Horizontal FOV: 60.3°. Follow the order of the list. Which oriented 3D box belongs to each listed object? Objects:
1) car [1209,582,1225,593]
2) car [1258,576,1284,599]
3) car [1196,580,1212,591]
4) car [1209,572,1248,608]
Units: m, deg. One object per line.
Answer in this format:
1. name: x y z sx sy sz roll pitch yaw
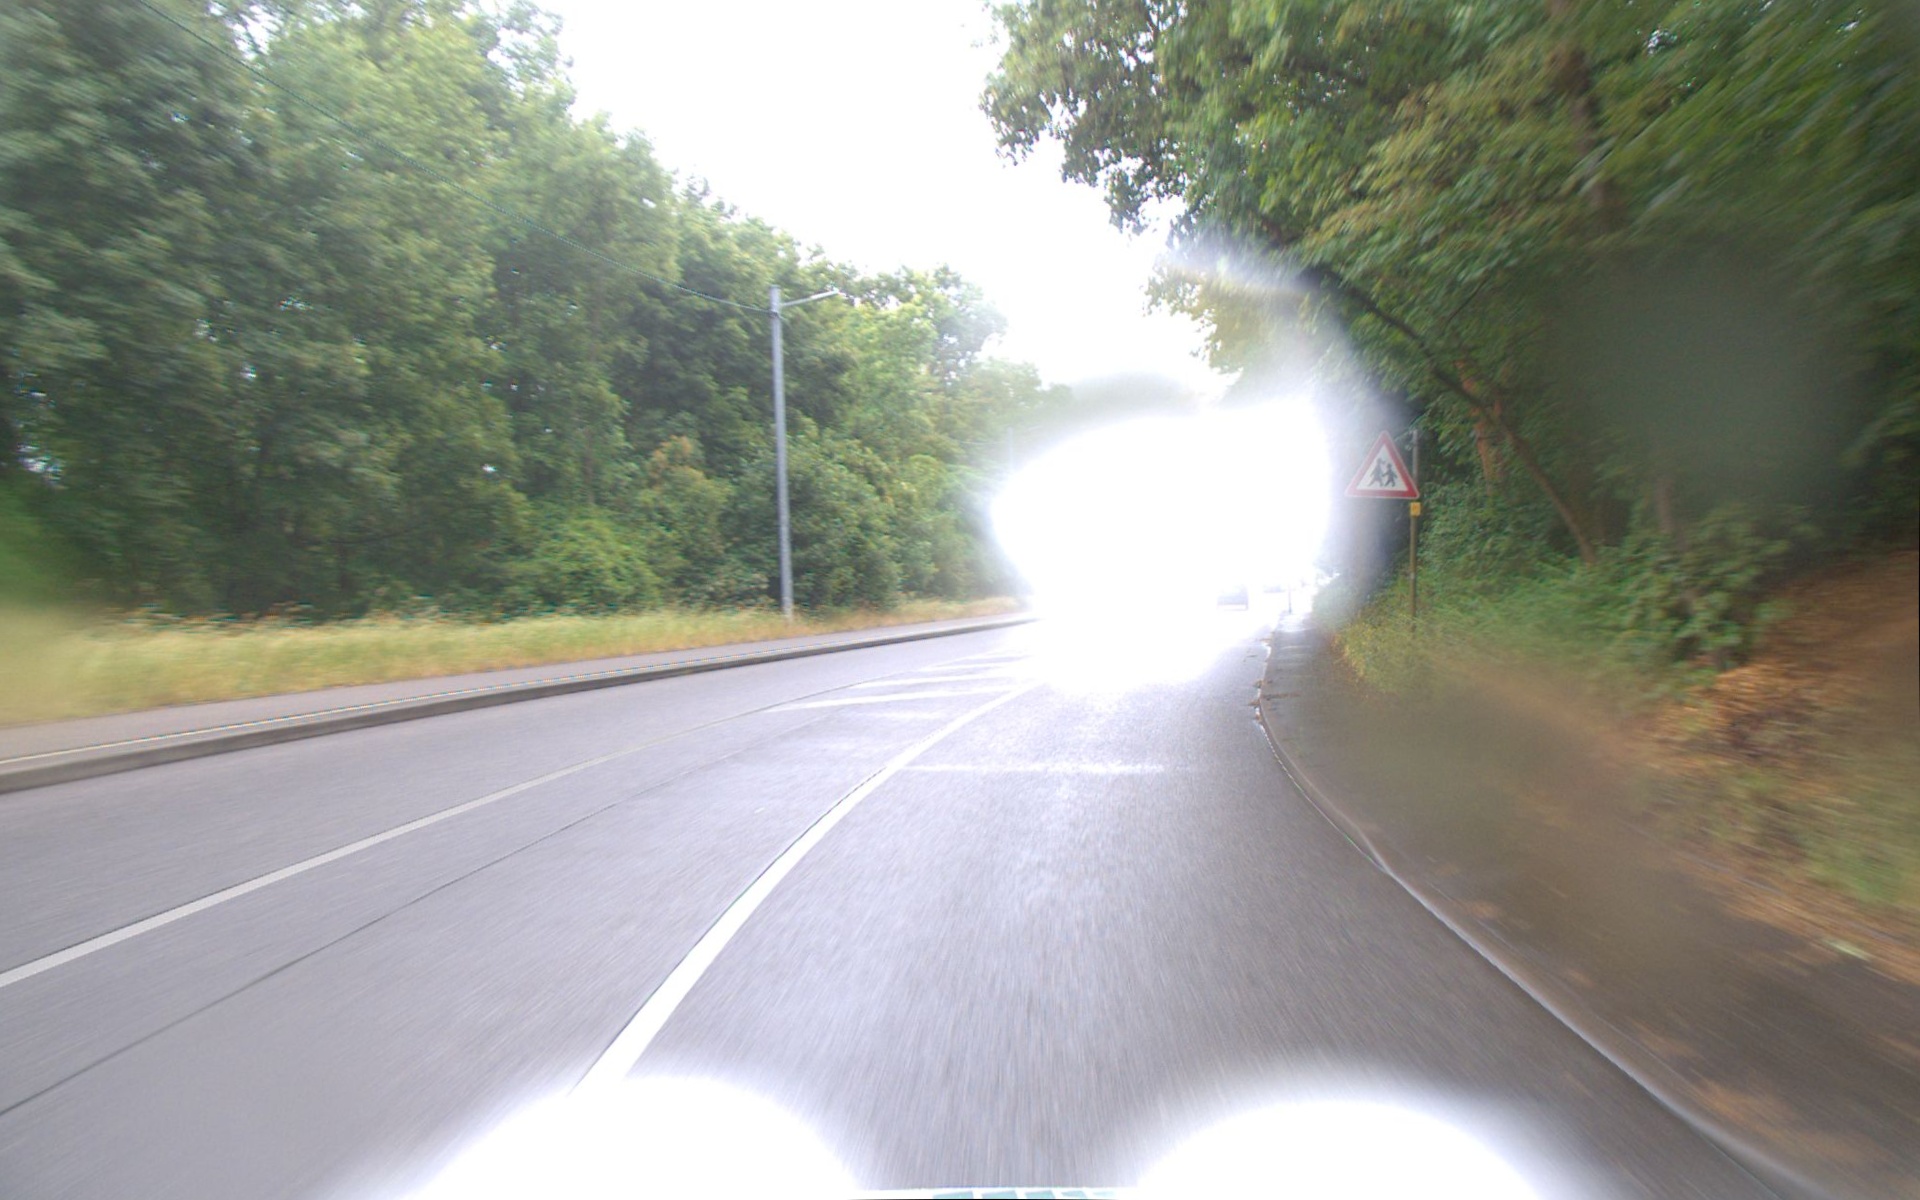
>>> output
1. car: 37.190 -1.837 239.368 1.705 1.579 3.854 0 0 -2
2. car: 24.504 -1.010 130.147 1.951 1.803 4.118 0 0 12
3. car: 36.428 -2.100 247.190 1.705 1.579 3.854 -1 0 -2
4. car: 12.756 -0.480 78.409 1.632 1.621 3.686 1 1 12
